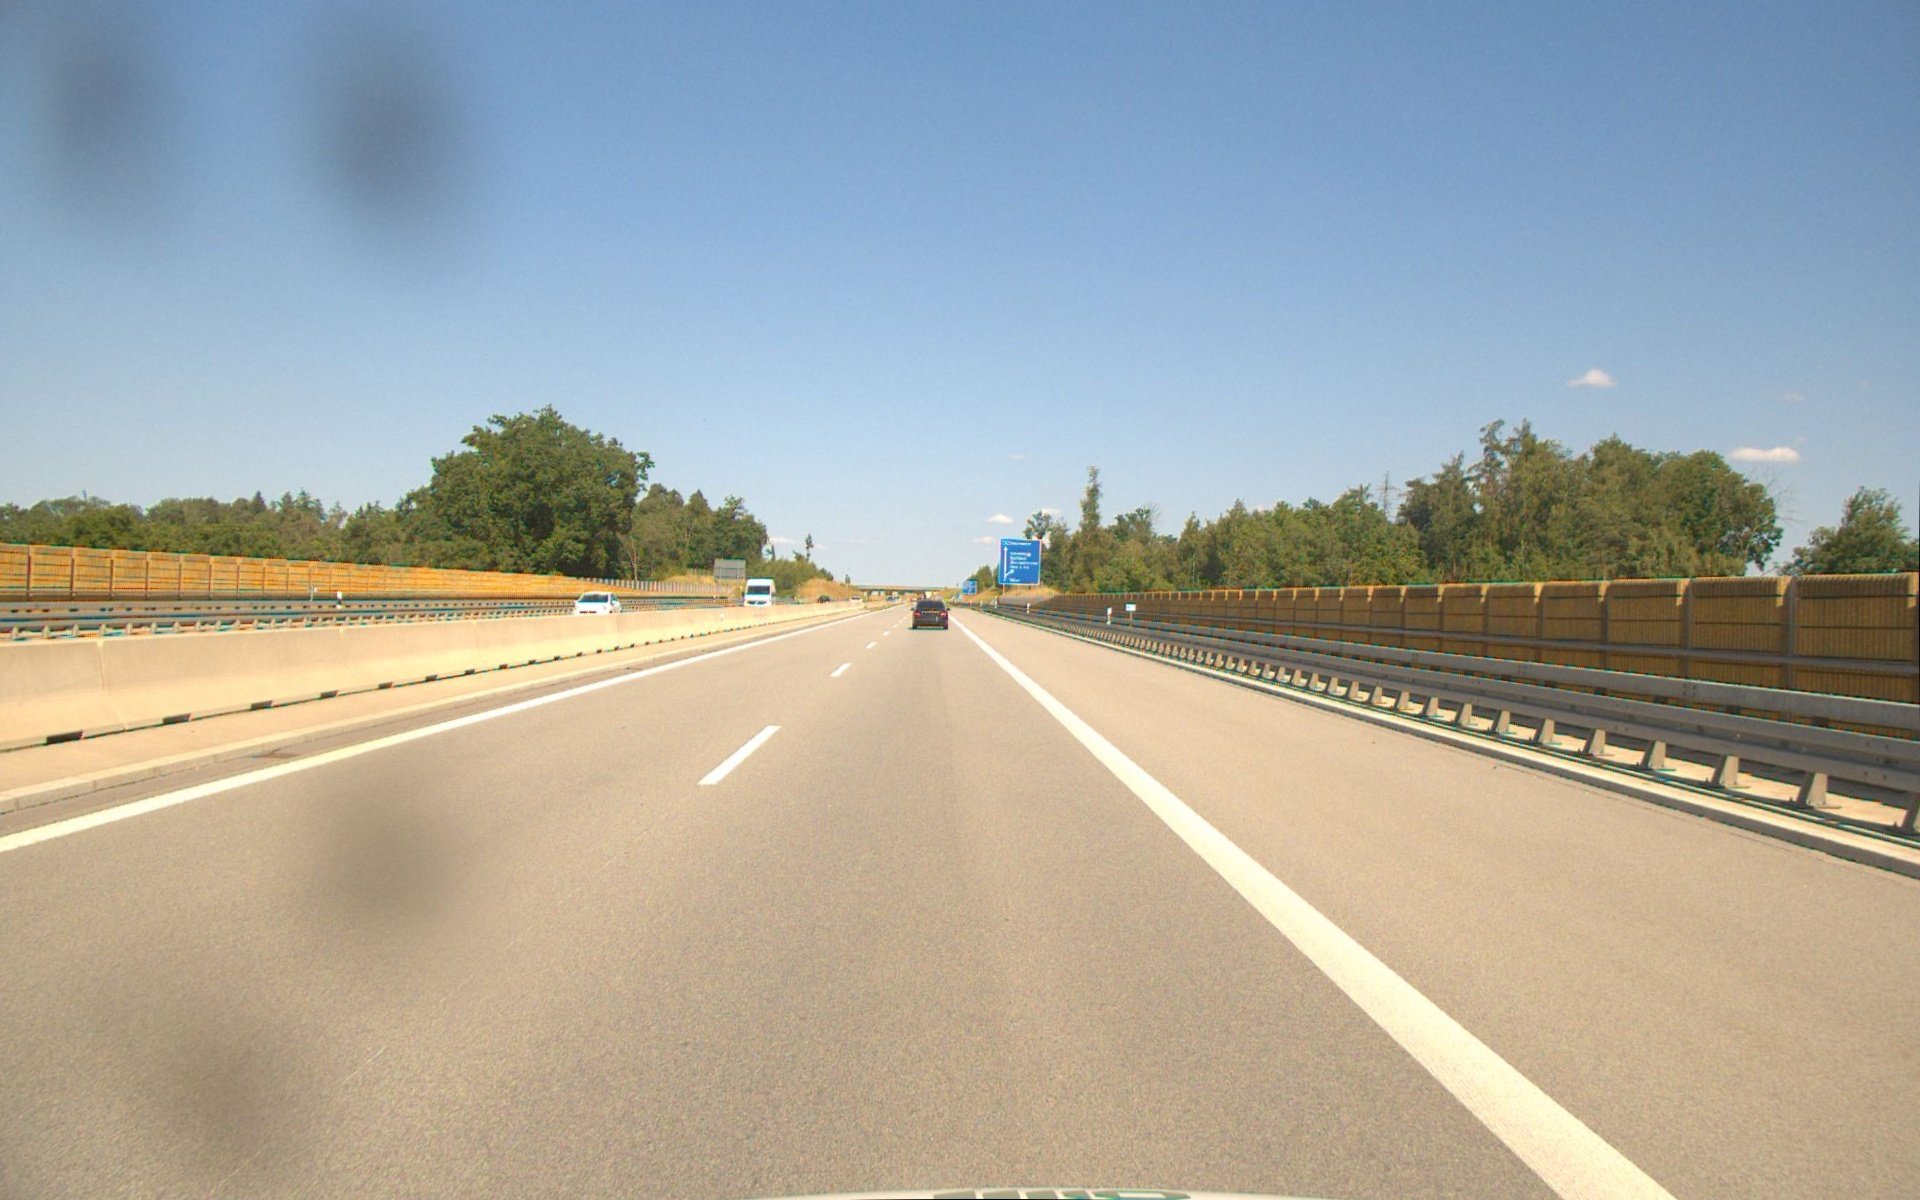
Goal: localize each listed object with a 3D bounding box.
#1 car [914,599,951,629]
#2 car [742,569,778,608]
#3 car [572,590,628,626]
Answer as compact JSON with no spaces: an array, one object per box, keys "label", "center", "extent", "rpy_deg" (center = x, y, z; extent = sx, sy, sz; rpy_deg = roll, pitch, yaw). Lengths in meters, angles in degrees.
[{"label":"car","center":[-1.335,0.653,80.290],"extent":[1.754,1.398,3.916],"rpy_deg":[1,0,-1]},{"label":"car","center":[-14.411,-0.816,119.227],"extent":[1.982,2.717,6.484],"rpy_deg":[1,0,-2]},{"label":"car","center":[-16.098,0.340,74.116],"extent":[1.614,1.535,4.331],"rpy_deg":[1,0,-1]}]
